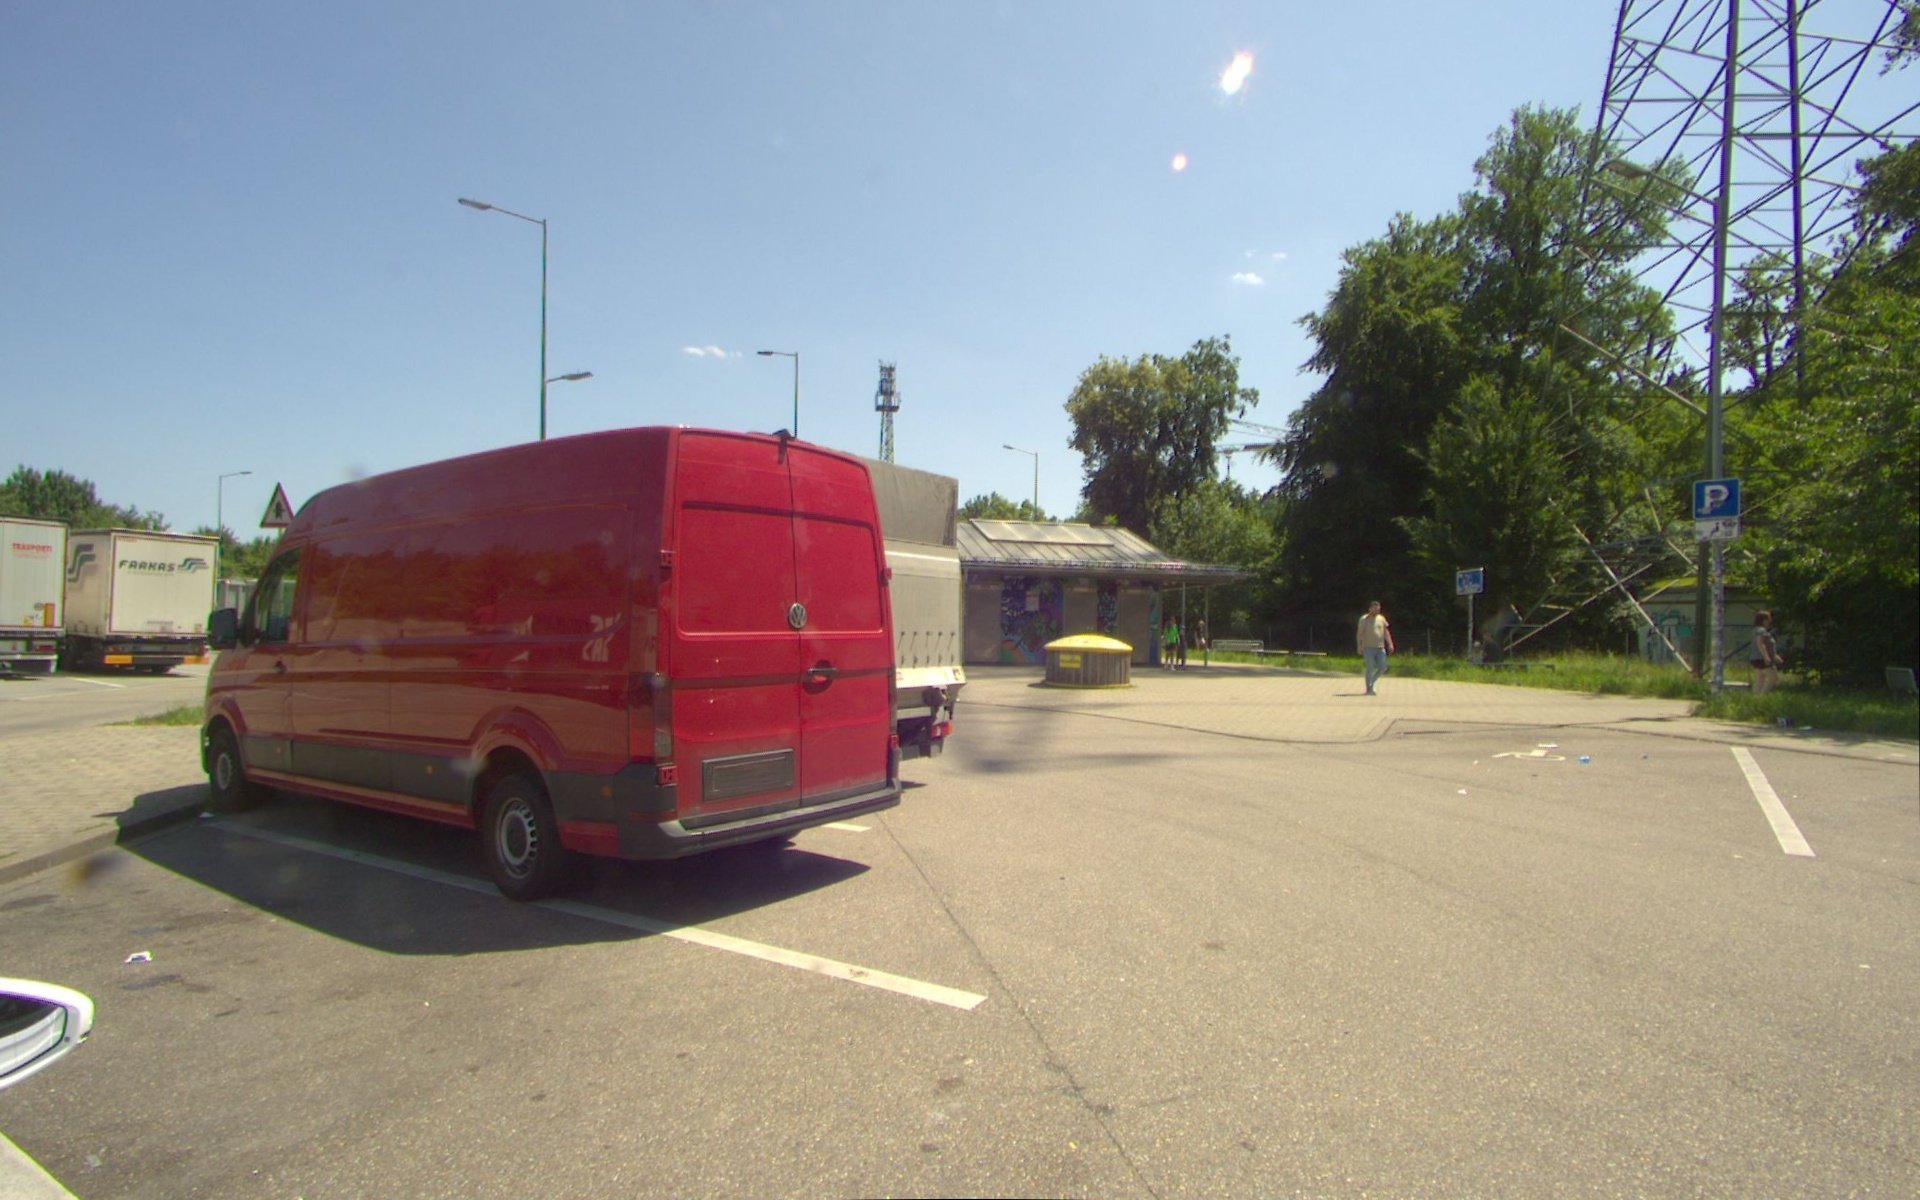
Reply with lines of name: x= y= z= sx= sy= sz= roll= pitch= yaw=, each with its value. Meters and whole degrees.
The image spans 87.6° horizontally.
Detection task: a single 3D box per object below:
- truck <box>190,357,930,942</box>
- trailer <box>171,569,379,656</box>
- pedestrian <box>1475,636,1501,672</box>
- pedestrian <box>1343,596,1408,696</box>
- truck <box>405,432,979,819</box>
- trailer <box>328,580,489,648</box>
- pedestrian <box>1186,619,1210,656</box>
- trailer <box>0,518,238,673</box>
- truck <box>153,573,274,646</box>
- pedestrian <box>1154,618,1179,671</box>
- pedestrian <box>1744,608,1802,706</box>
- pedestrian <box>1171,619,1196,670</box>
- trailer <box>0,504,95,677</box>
truck: x=-3.324 y=0.301 z=7.317 sx=6.372 sy=2.685 sz=2.005 roll=-1 pitch=-2 yaw=37
trailer: x=-32.462 y=0.481 z=47.079 sx=13.561 sy=3.646 sz=2.854 roll=1 pitch=-2 yaw=32
pedestrian: x=14.657 y=1.488 z=27.797 sx=0.439 sy=0.987 sz=0.460 roll=0 pitch=-1 yaw=-19
pedestrian: x=8.295 y=0.913 z=20.011 sx=0.799 sy=1.929 sz=0.920 roll=0 pitch=-1 yaw=-15
truck: x=-3.073 y=0.272 z=10.502 sx=6.372 sy=2.944 sz=2.411 roll=-1 pitch=-2 yaw=37
trailer: x=-36.155 y=0.840 z=65.319 sx=13.561 sy=3.955 sz=2.854 roll=1 pitch=-2 yaw=32
pedestrian: x=10.641 y=1.672 z=44.741 sx=0.801 sy=1.639 sz=0.917 roll=-1 pitch=-1 yaw=29
trailer: x=-27.601 y=-0.171 z=31.590 sx=13.561 sy=4.162 sz=2.854 roll=1 pitch=-2 yaw=32
truck: x=-37.534 y=0.471 z=50.303 sx=5.887 sy=3.406 sz=2.862 roll=1 pitch=-2 yaw=32
pedestrian: x=5.563 y=1.200 z=27.015 sx=0.532 sy=1.392 sz=0.583 roll=0 pitch=-1 yaw=0
pedestrian: x=14.154 y=0.982 z=17.450 sx=0.705 sy=1.670 sz=0.684 roll=-1 pitch=-1 yaw=34
pedestrian: x=6.130 y=1.218 z=27.484 sx=0.532 sy=1.392 sz=0.583 roll=0 pitch=-1 yaw=0
trailer: x=-28.674 y=-0.343 z=28.002 sx=13.561 sy=4.162 sz=2.854 roll=1 pitch=-2 yaw=32
